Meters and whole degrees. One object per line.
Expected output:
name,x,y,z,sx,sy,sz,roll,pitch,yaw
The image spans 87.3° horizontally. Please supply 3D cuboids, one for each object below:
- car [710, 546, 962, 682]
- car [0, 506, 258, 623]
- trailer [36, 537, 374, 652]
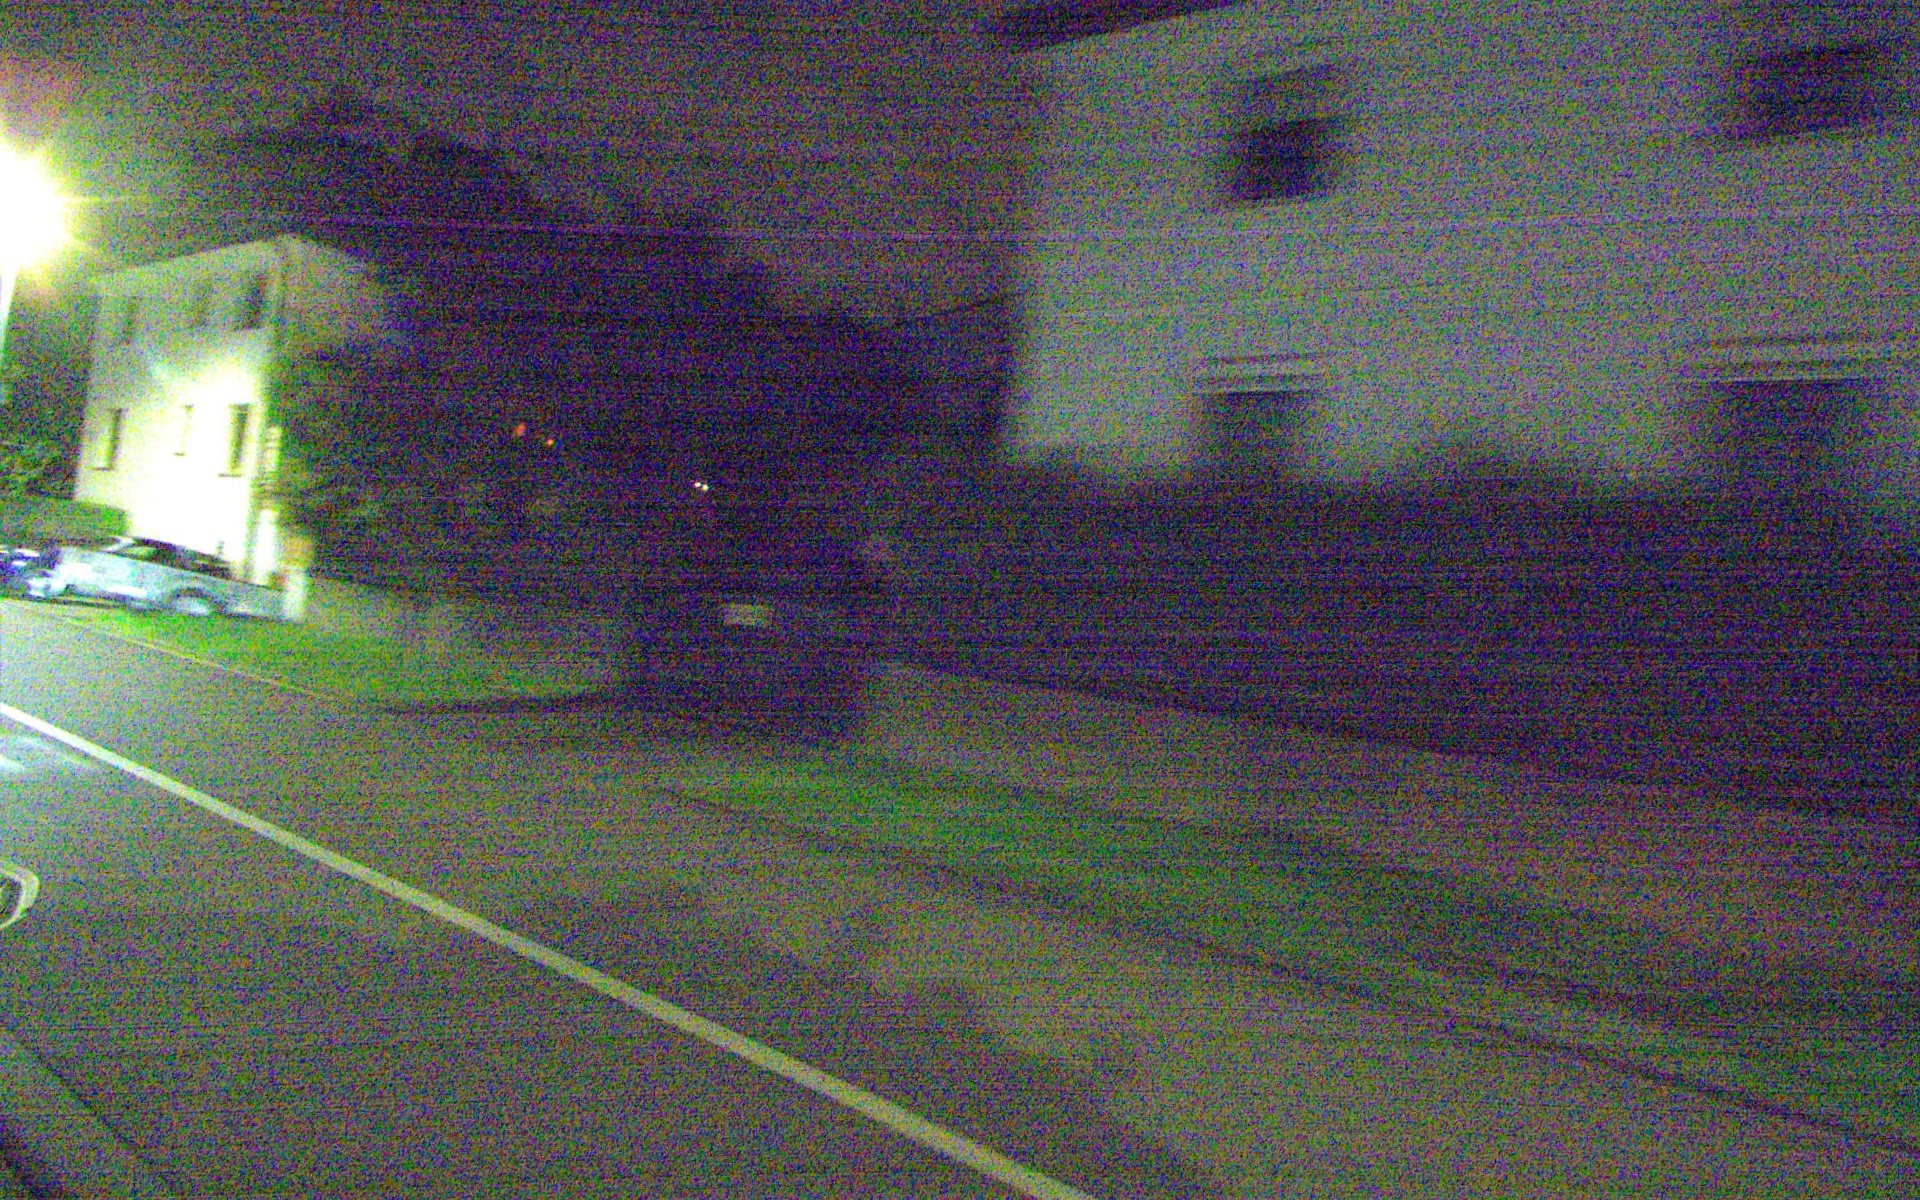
car,-2.469,0.255,19.731,4.431,2.037,1.998,7,-2,32
car,-14.104,-0.566,16.788,1.695,1.243,3.406,7,-6,30
trailer,-10.957,-0.027,14.813,1.922,1.012,3.443,6,-5,32
